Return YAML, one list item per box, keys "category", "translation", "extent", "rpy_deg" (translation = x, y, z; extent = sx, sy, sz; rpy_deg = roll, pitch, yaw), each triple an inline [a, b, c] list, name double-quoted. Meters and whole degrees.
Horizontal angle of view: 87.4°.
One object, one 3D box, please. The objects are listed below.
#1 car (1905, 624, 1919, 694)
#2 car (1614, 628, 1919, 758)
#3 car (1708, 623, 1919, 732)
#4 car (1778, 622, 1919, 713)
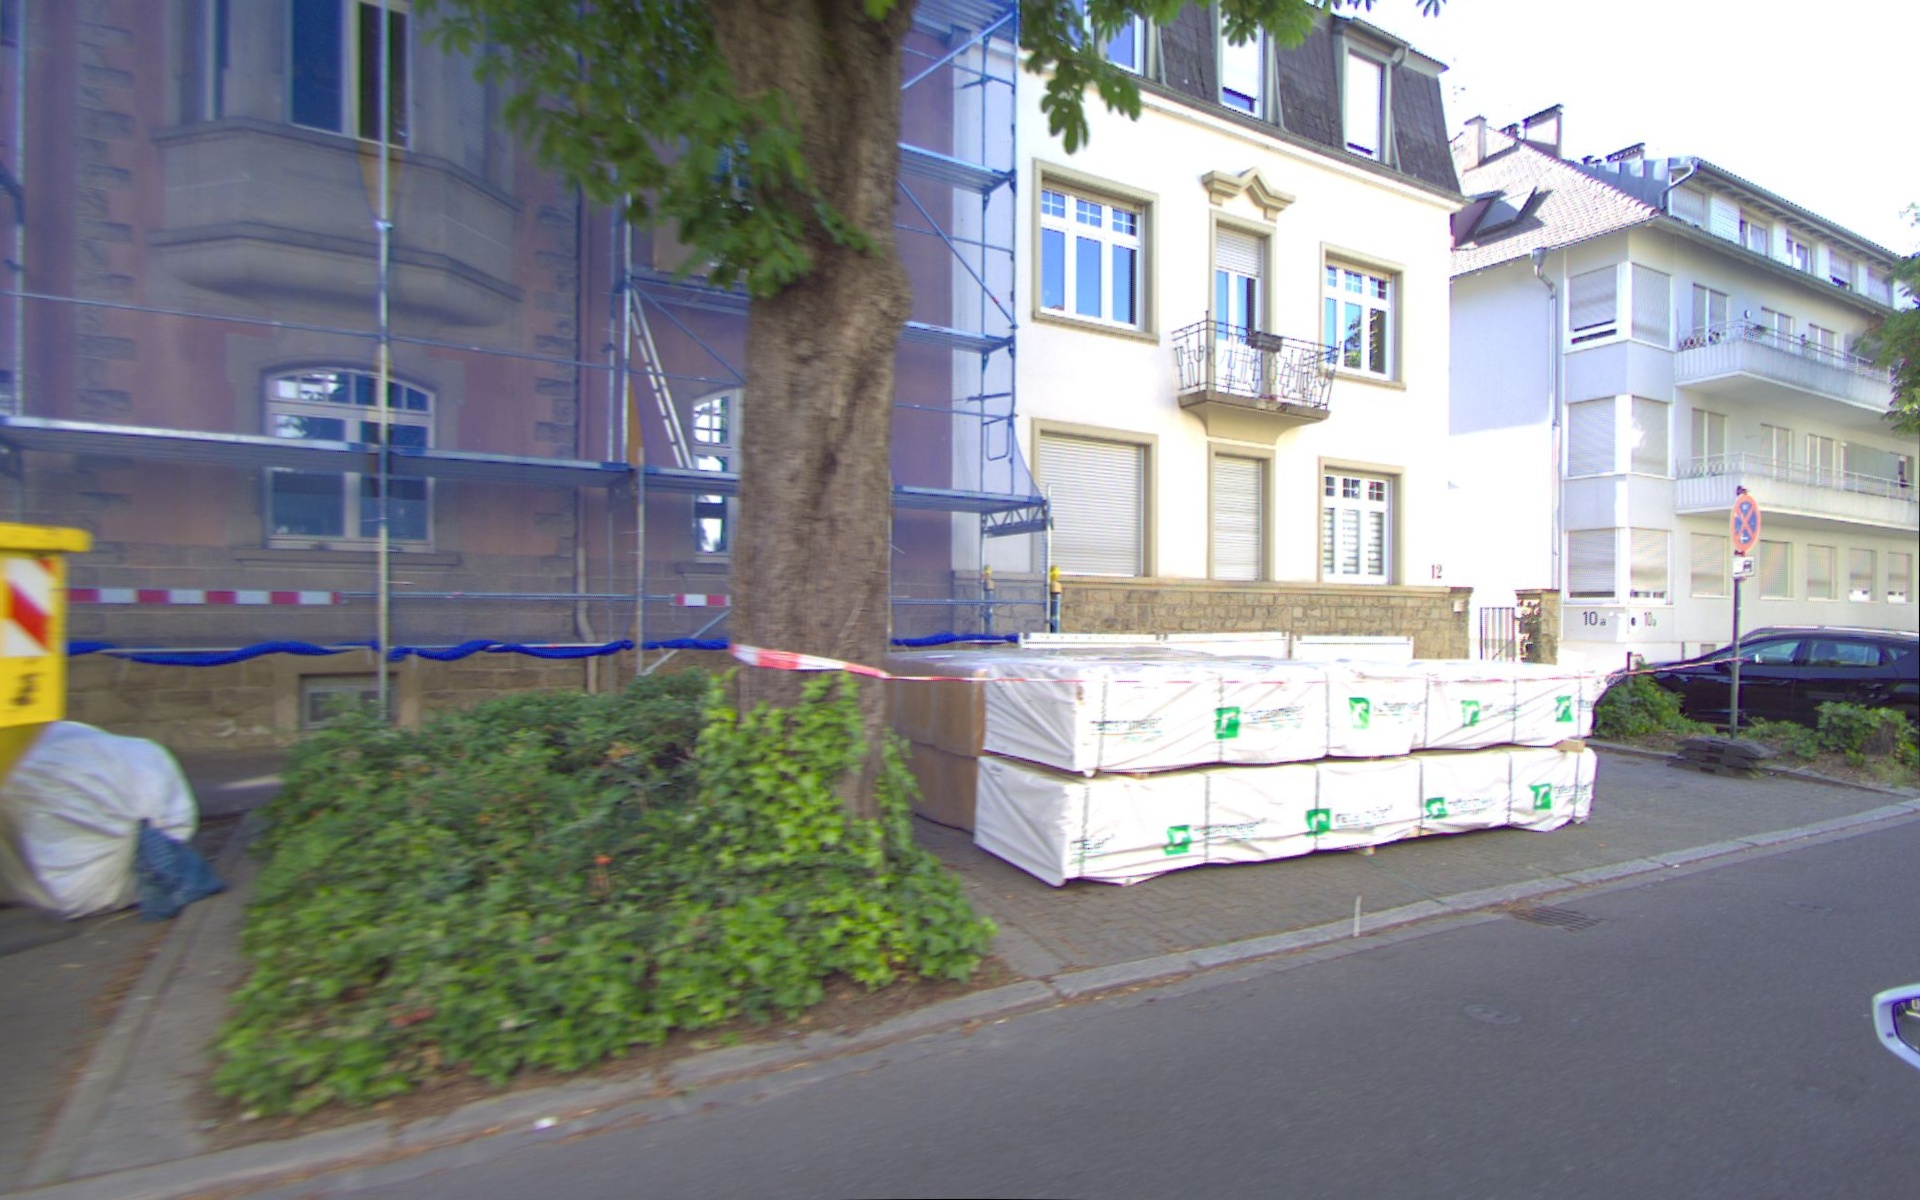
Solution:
- category: "car"
  translation: [21.218, 1.273, 19.827]
  extent: [1.693, 1.439, 3.455]
  rpy_deg: [2, 0, -35]
- category: "car"
  translation: [11.284, 1.150, 13.490]
  extent: [1.817, 1.534, 3.840]
  rpy_deg: [1, -2, -38]
- category: "car"
  translation: [14.855, 1.181, 15.894]
  extent: [1.817, 1.628, 4.554]
  rpy_deg: [1, -2, -38]
- category: "car"
  translation: [17.032, 1.197, 17.343]
  extent: [1.693, 1.460, 4.166]
  rpy_deg: [1, 1, -31]
